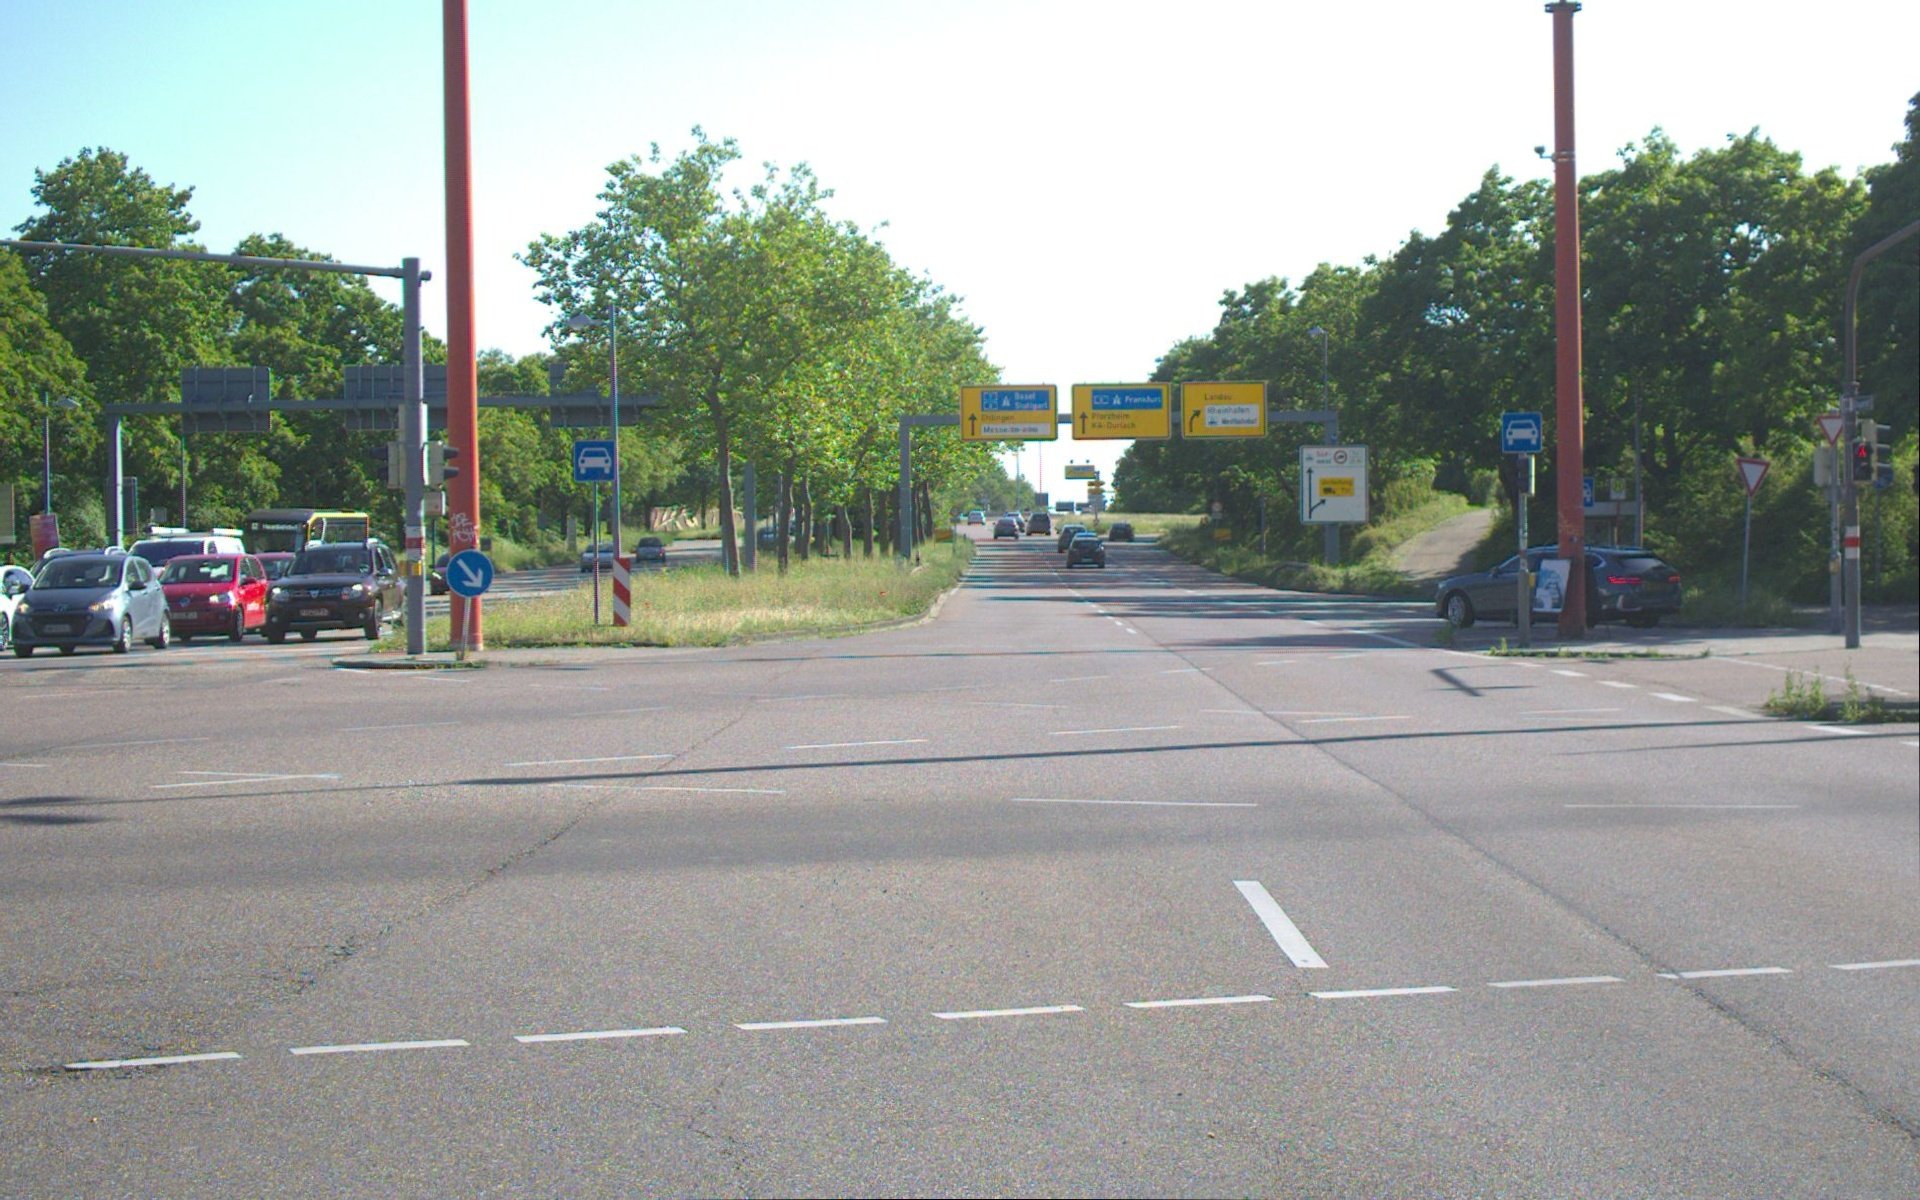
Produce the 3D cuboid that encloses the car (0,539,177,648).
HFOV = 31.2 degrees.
[{"bbox_3d":[-13.255,-0.132,52.175,1.993,1.568,4.121,-1,1,-3],"label":"car"}]

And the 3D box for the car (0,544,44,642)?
[{"bbox_3d":[-16.490,-0.117,57.044,1.993,1.568,4.122,-2,1,-8],"label":"car"}]

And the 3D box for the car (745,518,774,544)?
[{"bbox_3d":[-13.446,-4.620,230.649,1.898,1.764,3.850,-1,1,-2],"label":"car"}]

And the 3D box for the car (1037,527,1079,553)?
[{"bbox_3d":[5.927,-3.629,208.318,2.158,1.568,4.281,-1,1,-4],"label":"car"}]

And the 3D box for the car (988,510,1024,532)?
[{"bbox_3d":[3.469,-5.921,257.846,2.245,1.568,4.282,-1,1,-5],"label":"car"}]

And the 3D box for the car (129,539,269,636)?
[{"bbox_3d":[-12.900,-0.235,58.477,1.993,1.568,4.122,-1,1,-8],"label":"car"}]

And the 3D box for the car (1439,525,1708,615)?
[{"bbox_3d":[11.139,-0.552,62.680,2.159,1.568,4.582,-1,1,-37],"label":"car"}]

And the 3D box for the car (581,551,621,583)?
[{"bbox_3d":[-18.015,-1.663,172.561,1.876,1.568,3.948,-1,1,-5],"label":"car"}]

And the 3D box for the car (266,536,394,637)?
[{"bbox_3d":[-10.249,-0.244,56.156,1.876,1.568,4.122,-1,1,-8],"label":"car"}]

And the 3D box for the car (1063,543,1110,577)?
[{"bbox_3d":[6.045,-1.915,164.738,2.159,1.568,4.281,-1,1,1],"label":"car"}]

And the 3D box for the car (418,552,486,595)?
[{"bbox_3d":[-17.773,-0.929,120.467,1.821,1.449,3.656,-1,1,0],"label":"car"}]

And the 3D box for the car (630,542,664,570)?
[{"bbox_3d":[-17.997,-2.534,197.938,1.876,1.568,4.121,-1,1,-5],"label":"car"}]

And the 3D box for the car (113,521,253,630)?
[{"bbox_3d":[-16.115,-0.527,71.517,2.062,2.185,4.379,-1,1,-2],"label":"car"}]

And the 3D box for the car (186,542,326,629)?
[{"bbox_3d":[-13.118,-0.295,64.256,1.993,1.568,4.121,-1,1,-4],"label":"car"}]
